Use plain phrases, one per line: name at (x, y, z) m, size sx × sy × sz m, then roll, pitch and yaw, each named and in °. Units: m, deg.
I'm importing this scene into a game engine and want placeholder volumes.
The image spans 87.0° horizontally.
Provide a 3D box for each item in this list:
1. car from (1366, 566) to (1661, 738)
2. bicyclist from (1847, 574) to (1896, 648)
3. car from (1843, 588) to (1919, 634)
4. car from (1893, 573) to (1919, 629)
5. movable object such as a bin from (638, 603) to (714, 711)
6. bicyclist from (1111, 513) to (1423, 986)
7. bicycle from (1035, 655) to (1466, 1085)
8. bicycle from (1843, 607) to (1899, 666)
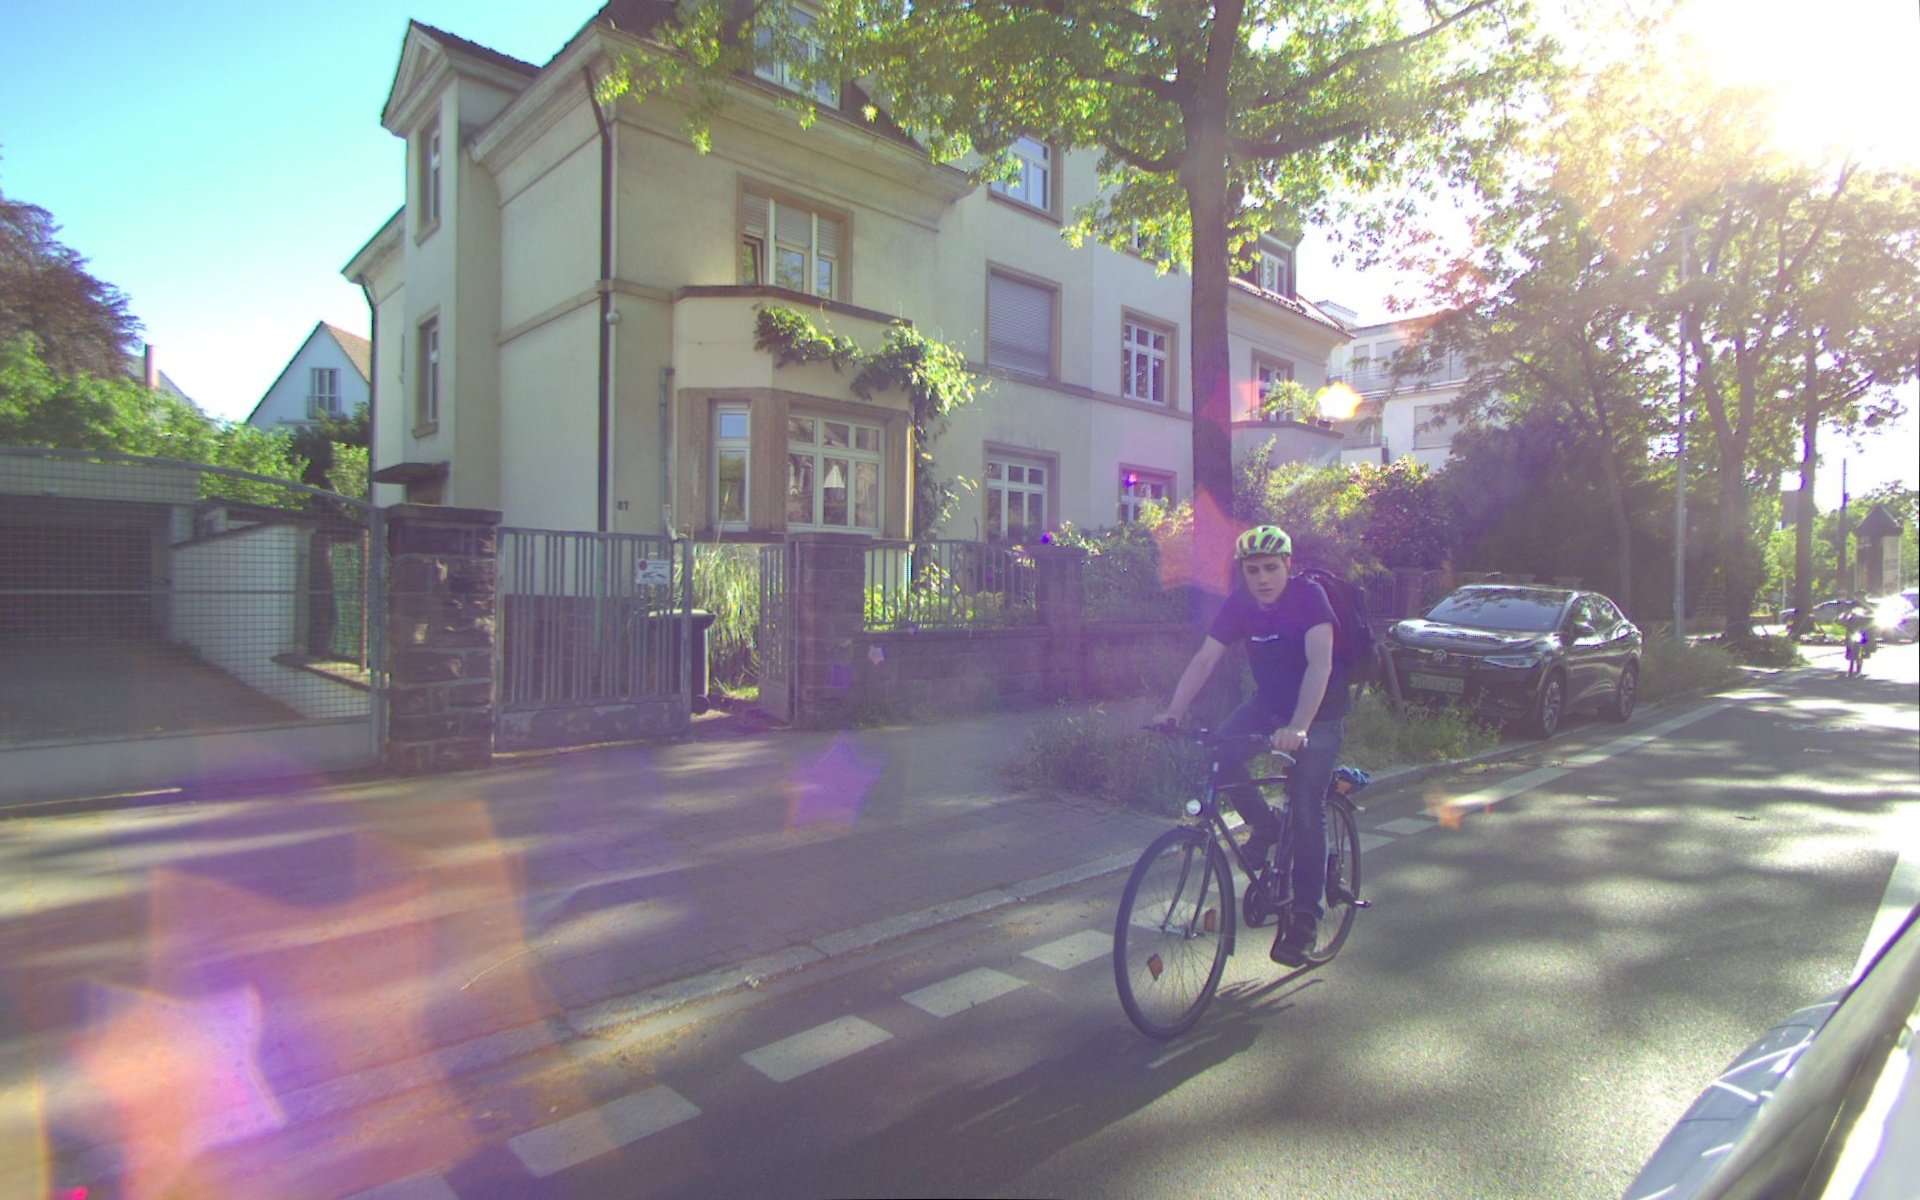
car at (6.691, 0.496, 12.062) m, size 4.021 × 1.626 × 1.743 m, roll 0°, pitch 4°, yaw -42°
bicyclist at (18.897, 0.212, 20.984) m, size 1.095 × 1.506 × 0.622 m, roll -1°, pitch 0°, yaw -41°
car at (31.553, 0.340, 34.414) m, size 3.930 × 1.469 × 1.785 m, roll 0°, pitch 1°, yaw -41°
car at (36.789, 0.053, 38.075) m, size 4.503 × 2.039 × 1.997 m, roll 0°, pitch 1°, yaw -41°
movable object such as a bin at (-3.057, 0.576, 10.851) m, size 0.697 × 1.070 × 1.093 m, roll 0°, pitch 0°, yaw -20°
bicyclist at (1.180, 0.469, 3.835) m, size 1.095 × 1.506 × 0.645 m, roll 0°, pitch 0°, yaw -41°
bicycle at (1.175, 0.836, 3.822) m, size 1.868 × 1.158 × 0.644 m, roll 0°, pitch 0°, yaw -41°
bicycle at (18.899, 0.722, 20.981) m, size 1.783 × 1.158 × 0.644 m, roll 0°, pitch 0°, yaw -41°
